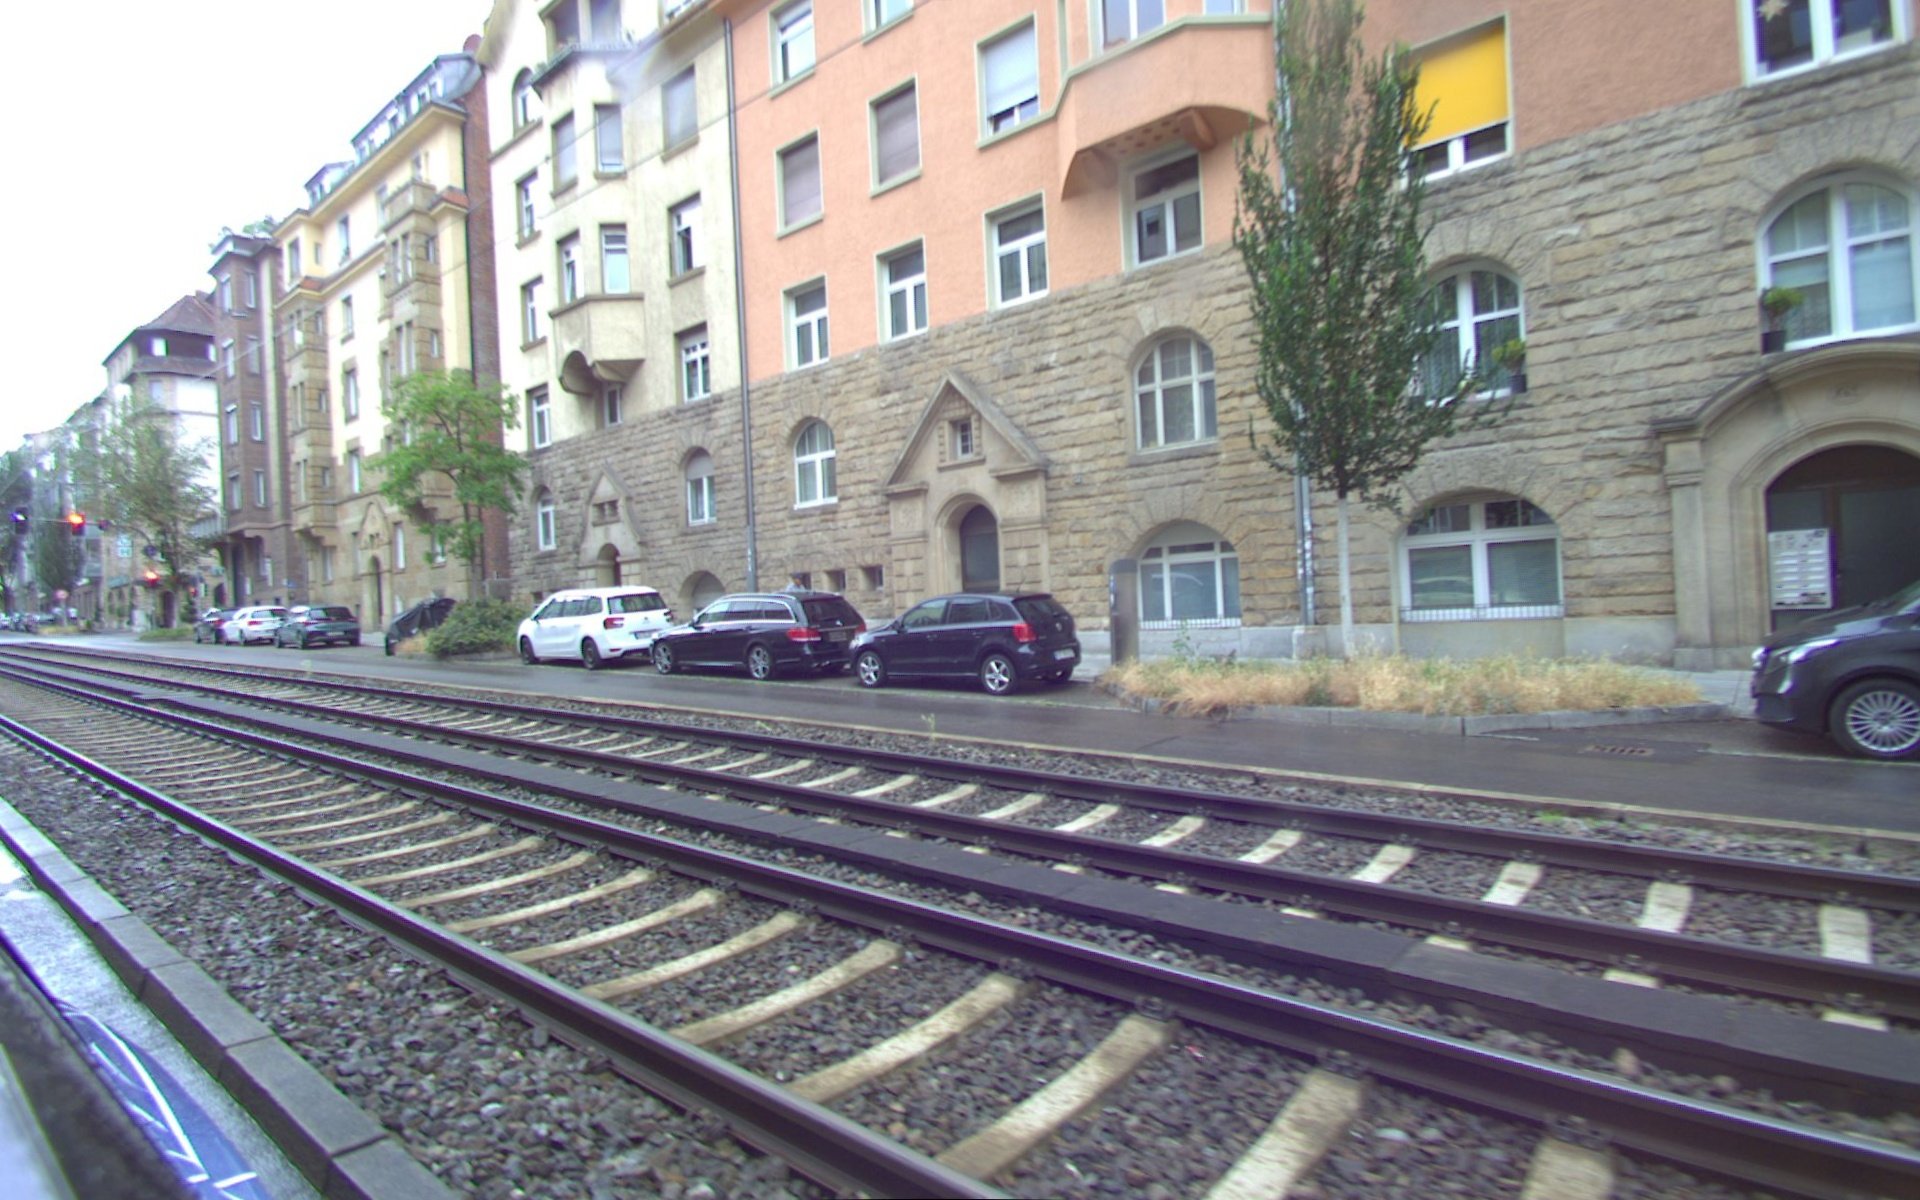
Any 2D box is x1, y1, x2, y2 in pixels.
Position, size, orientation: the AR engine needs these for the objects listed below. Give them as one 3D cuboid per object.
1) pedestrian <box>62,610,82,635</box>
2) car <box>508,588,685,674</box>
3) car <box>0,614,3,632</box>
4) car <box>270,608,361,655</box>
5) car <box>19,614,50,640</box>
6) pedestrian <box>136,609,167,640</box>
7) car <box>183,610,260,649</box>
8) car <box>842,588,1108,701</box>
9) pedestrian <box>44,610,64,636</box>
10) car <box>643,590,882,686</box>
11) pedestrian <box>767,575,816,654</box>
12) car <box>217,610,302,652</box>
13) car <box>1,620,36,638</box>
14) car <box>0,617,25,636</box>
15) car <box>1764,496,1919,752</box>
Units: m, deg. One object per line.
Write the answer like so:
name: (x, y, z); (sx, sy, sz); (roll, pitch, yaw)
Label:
pedestrian: (-70.840, 1.789, 80.744); (1.163, 1.972, 1.042); (-1, 0, 43)
car: (-8.001, 0.645, 22.120); (4.144, 1.668, 1.843); (-1, 0, 41)
car: (-87.828, 2.090, 91.454); (3.773, 1.611, 1.636); (-1, 0, 41)
car: (-21.928, 1.035, 34.383); (3.845, 1.452, 1.656); (-1, 1, 43)
car: (-67.247, 1.920, 73.543); (1.561, 1.691, 3.794); (-2, 2, -43)
pedestrian: (-52.311, 1.569, 65.511); (1.146, 1.972, 1.057); (-2, 0, -3)
car: (-30.381, 1.203, 41.617); (3.843, 1.452, 1.748); (-1, 0, 41)
car: (0.181, 0.614, 15.417); (3.638, 1.508, 1.912); (-1, 0, 38)
pedestrian: (-71.553, 1.795, 79.901); (1.163, 1.972, 1.042); (-1, 0, 43)
car: (-3.697, 0.641, 18.442); (4.599, 1.506, 1.824); (-1, 0, 41)
pedestrian: (-3.597, 0.309, 21.648); (0.765, 1.654, 0.692); (-1, 0, 41)
car: (-26.525, 1.149, 38.291); (4.030, 1.452, 1.748); (-1, 1, 42)
car: (-72.492, 2.207, 77.914); (3.843, 1.321, 1.563); (-1, 0, 41)
car: (-79.113, 2.213, 83.994); (3.843, 1.527, 1.748); (-1, 0, 41)
car: (9.076, 0.163, 7.473); (4.823, 1.956, 1.973); (-1, 0, 41)
